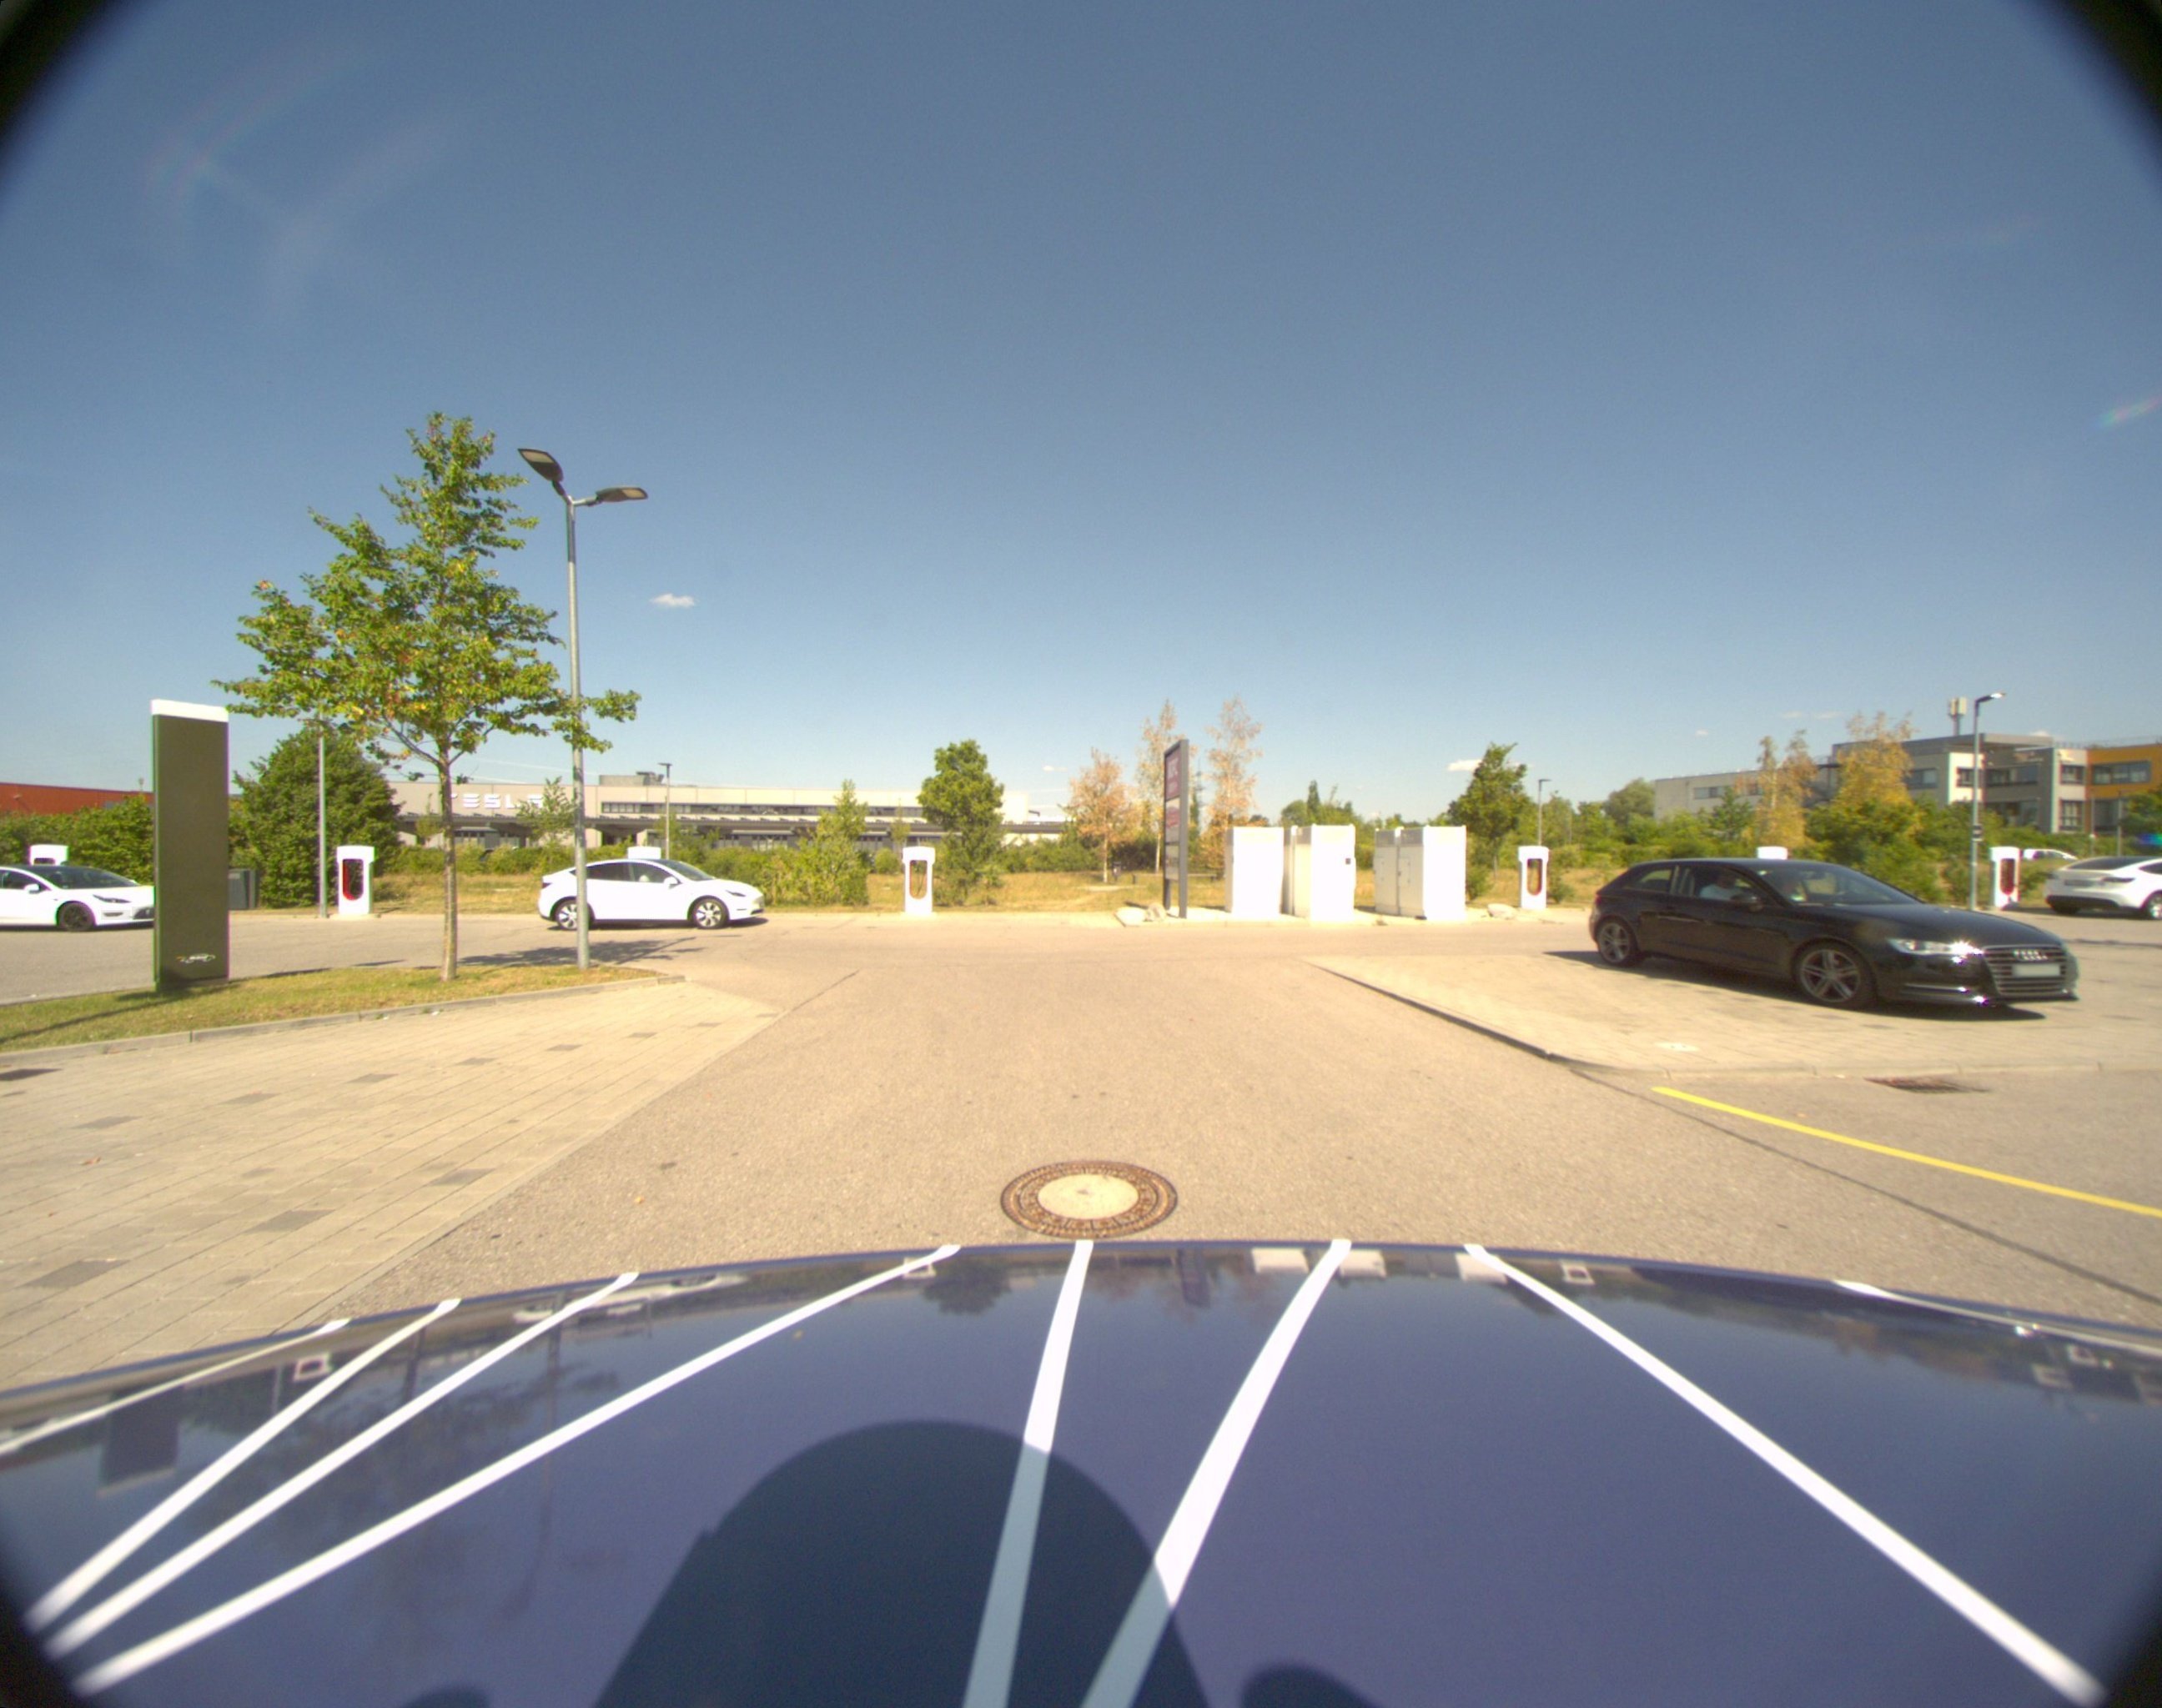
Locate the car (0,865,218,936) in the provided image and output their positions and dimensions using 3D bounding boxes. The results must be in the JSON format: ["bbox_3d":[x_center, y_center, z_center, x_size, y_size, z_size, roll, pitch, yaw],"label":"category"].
[{"bbox_3d":[-22.713,1.004,17.082,4.331,1.470,1.842,0,1,-3],"label":"car"}]

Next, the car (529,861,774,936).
[{"bbox_3d":[-9.788,0.968,17.666,4.576,1.584,1.841,0,1,-7],"label":"car"}]

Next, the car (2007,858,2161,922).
[{"bbox_3d":[28.411,0.916,20.471,4.431,1.518,2.216,0,2,-4],"label":"car"}]

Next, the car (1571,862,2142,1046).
[{"bbox_3d":[7.787,0.840,8.400,1.729,1.403,4.313,0,1,-4],"label":"car"}]

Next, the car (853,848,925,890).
[{"bbox_3d":[-8.292,0.600,33.244,1.917,1.740,4.257,-1,1,2],"label":"car"}]
